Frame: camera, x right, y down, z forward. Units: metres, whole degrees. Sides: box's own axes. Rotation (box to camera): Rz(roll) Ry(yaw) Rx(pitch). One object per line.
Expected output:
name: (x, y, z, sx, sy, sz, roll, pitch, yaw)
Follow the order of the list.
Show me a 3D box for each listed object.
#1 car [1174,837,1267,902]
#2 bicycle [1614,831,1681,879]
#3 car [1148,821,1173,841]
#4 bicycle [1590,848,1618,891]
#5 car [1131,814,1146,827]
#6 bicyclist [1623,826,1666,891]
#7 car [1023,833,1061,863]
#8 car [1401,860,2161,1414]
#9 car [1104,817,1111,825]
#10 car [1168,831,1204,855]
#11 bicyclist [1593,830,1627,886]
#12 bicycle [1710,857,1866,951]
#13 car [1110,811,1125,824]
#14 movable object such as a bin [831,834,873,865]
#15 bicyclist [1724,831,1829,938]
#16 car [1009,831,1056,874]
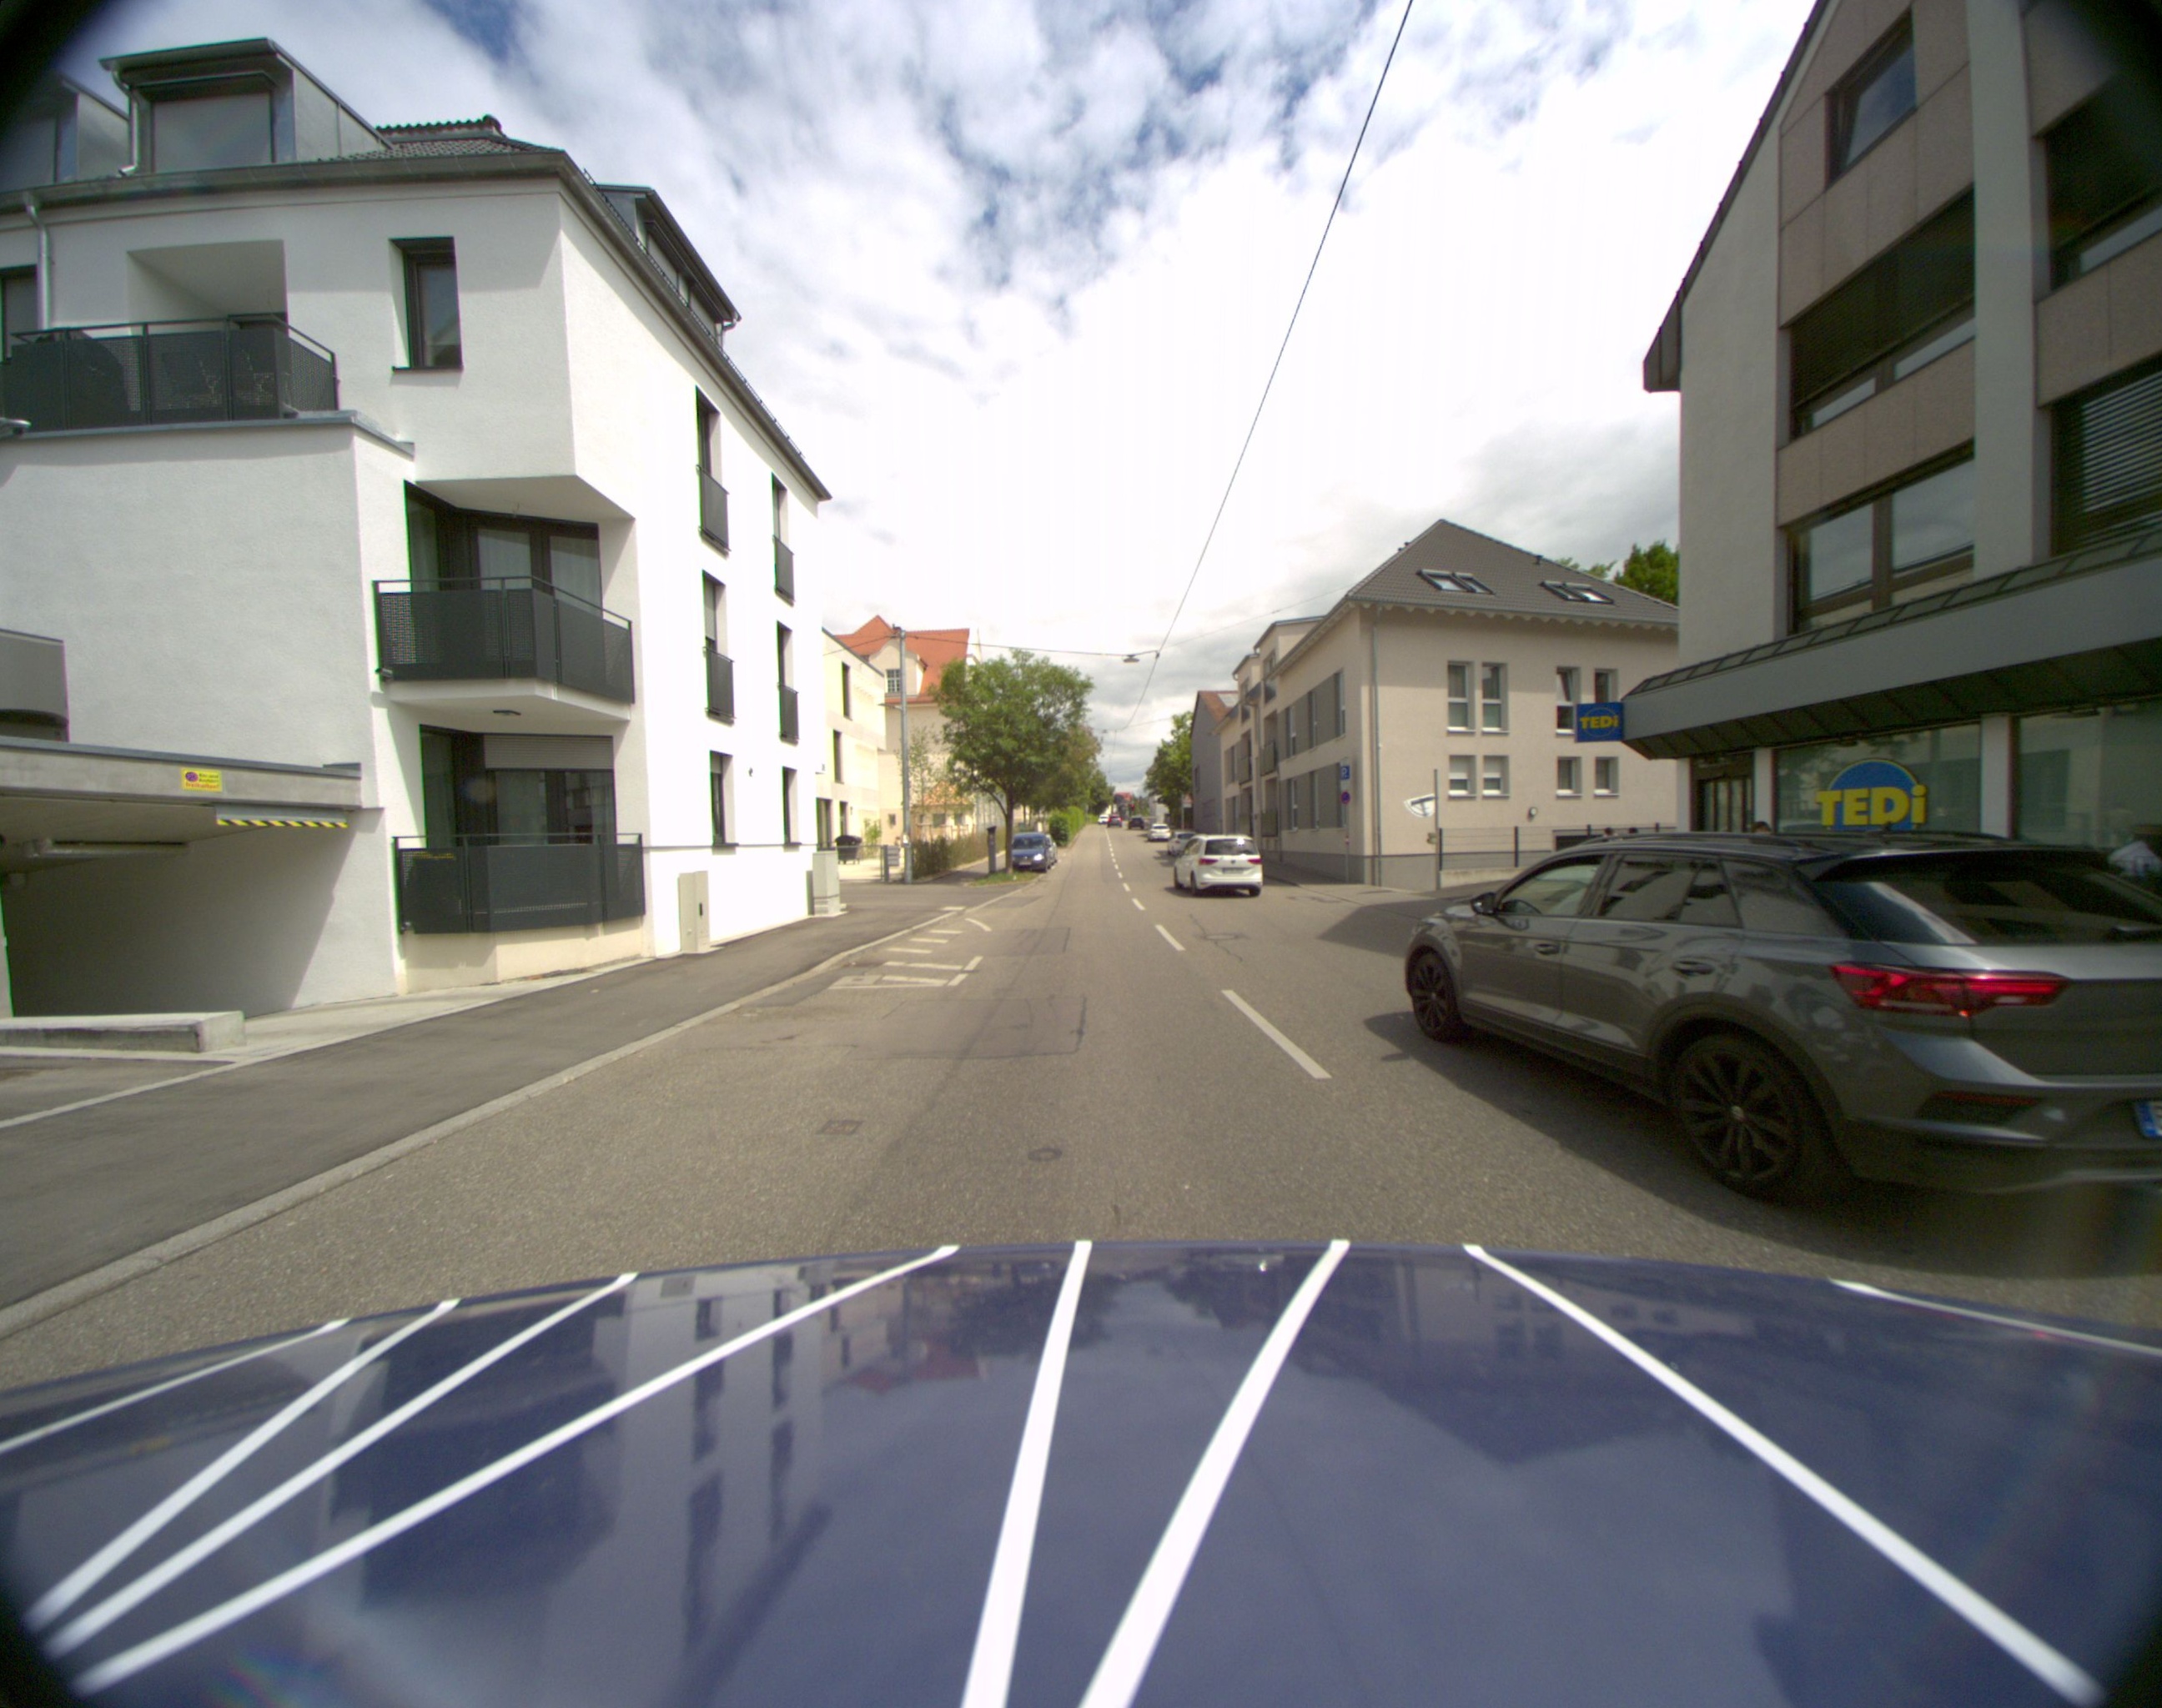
car: (3.771, 0.343, 21.190, 1.779, 1.604, 4.118, 0, 2, -1)
bicycle: (12.268, 0.009, 16.432, 1.694, 0.949, 0.554, -2, 1, -31)
car: (6.550, -1.910, 62.649, 1.737, 1.480, 4.064, -1, 4, 1)
bicycle: (11.999, 0.347, 17.412, 0.458, 0.912, 1.592, -1, 1, 37)
car: (7.155, -4.273, 95.561, 1.672, 1.546, 3.963, -1, 4, 1)
bicyclist: (12.087, 0.099, 16.307, 0.425, 1.357, 0.587, -2, 0, -31)
car: (-2.022, -0.324, 40.183, 1.677, 1.510, 3.669, 1, 1, 1)
car: (3.512, 0.823, 4.119, 1.796, 1.502, 3.844, -1, 0, -2)
car: (4.807, -5.976, 137.730, 1.298, 1.148, 2.983, -4, 0, 1)
car: (6.138, -0.676, 44.768, 1.665, 1.322, 3.473, 1, 1, 1)
bicyclist: (12.089, 0.094, 17.375, 0.640, 1.235, 0.427, 0, 4, 34)
bicycle: (9.282, 0.612, 10.069, 0.444, 1.044, 1.733, -5, 2, 1)
car: (5.012, -5.045, 104.857, 1.946, 1.709, 4.596, -1, 2, 0)
movable object such as a bin: (-11.262, -0.237, 37.448, 1.351, 1.439, 1.806, -2, 3, 2)
bicyclist: (9.282, 0.381, 10.164, 0.669, 1.330, 0.761, -5, 3, 1)
car: (-2.144, -0.131, 34.413, 1.698, 1.734, 4.158, -1, 2, 1)
